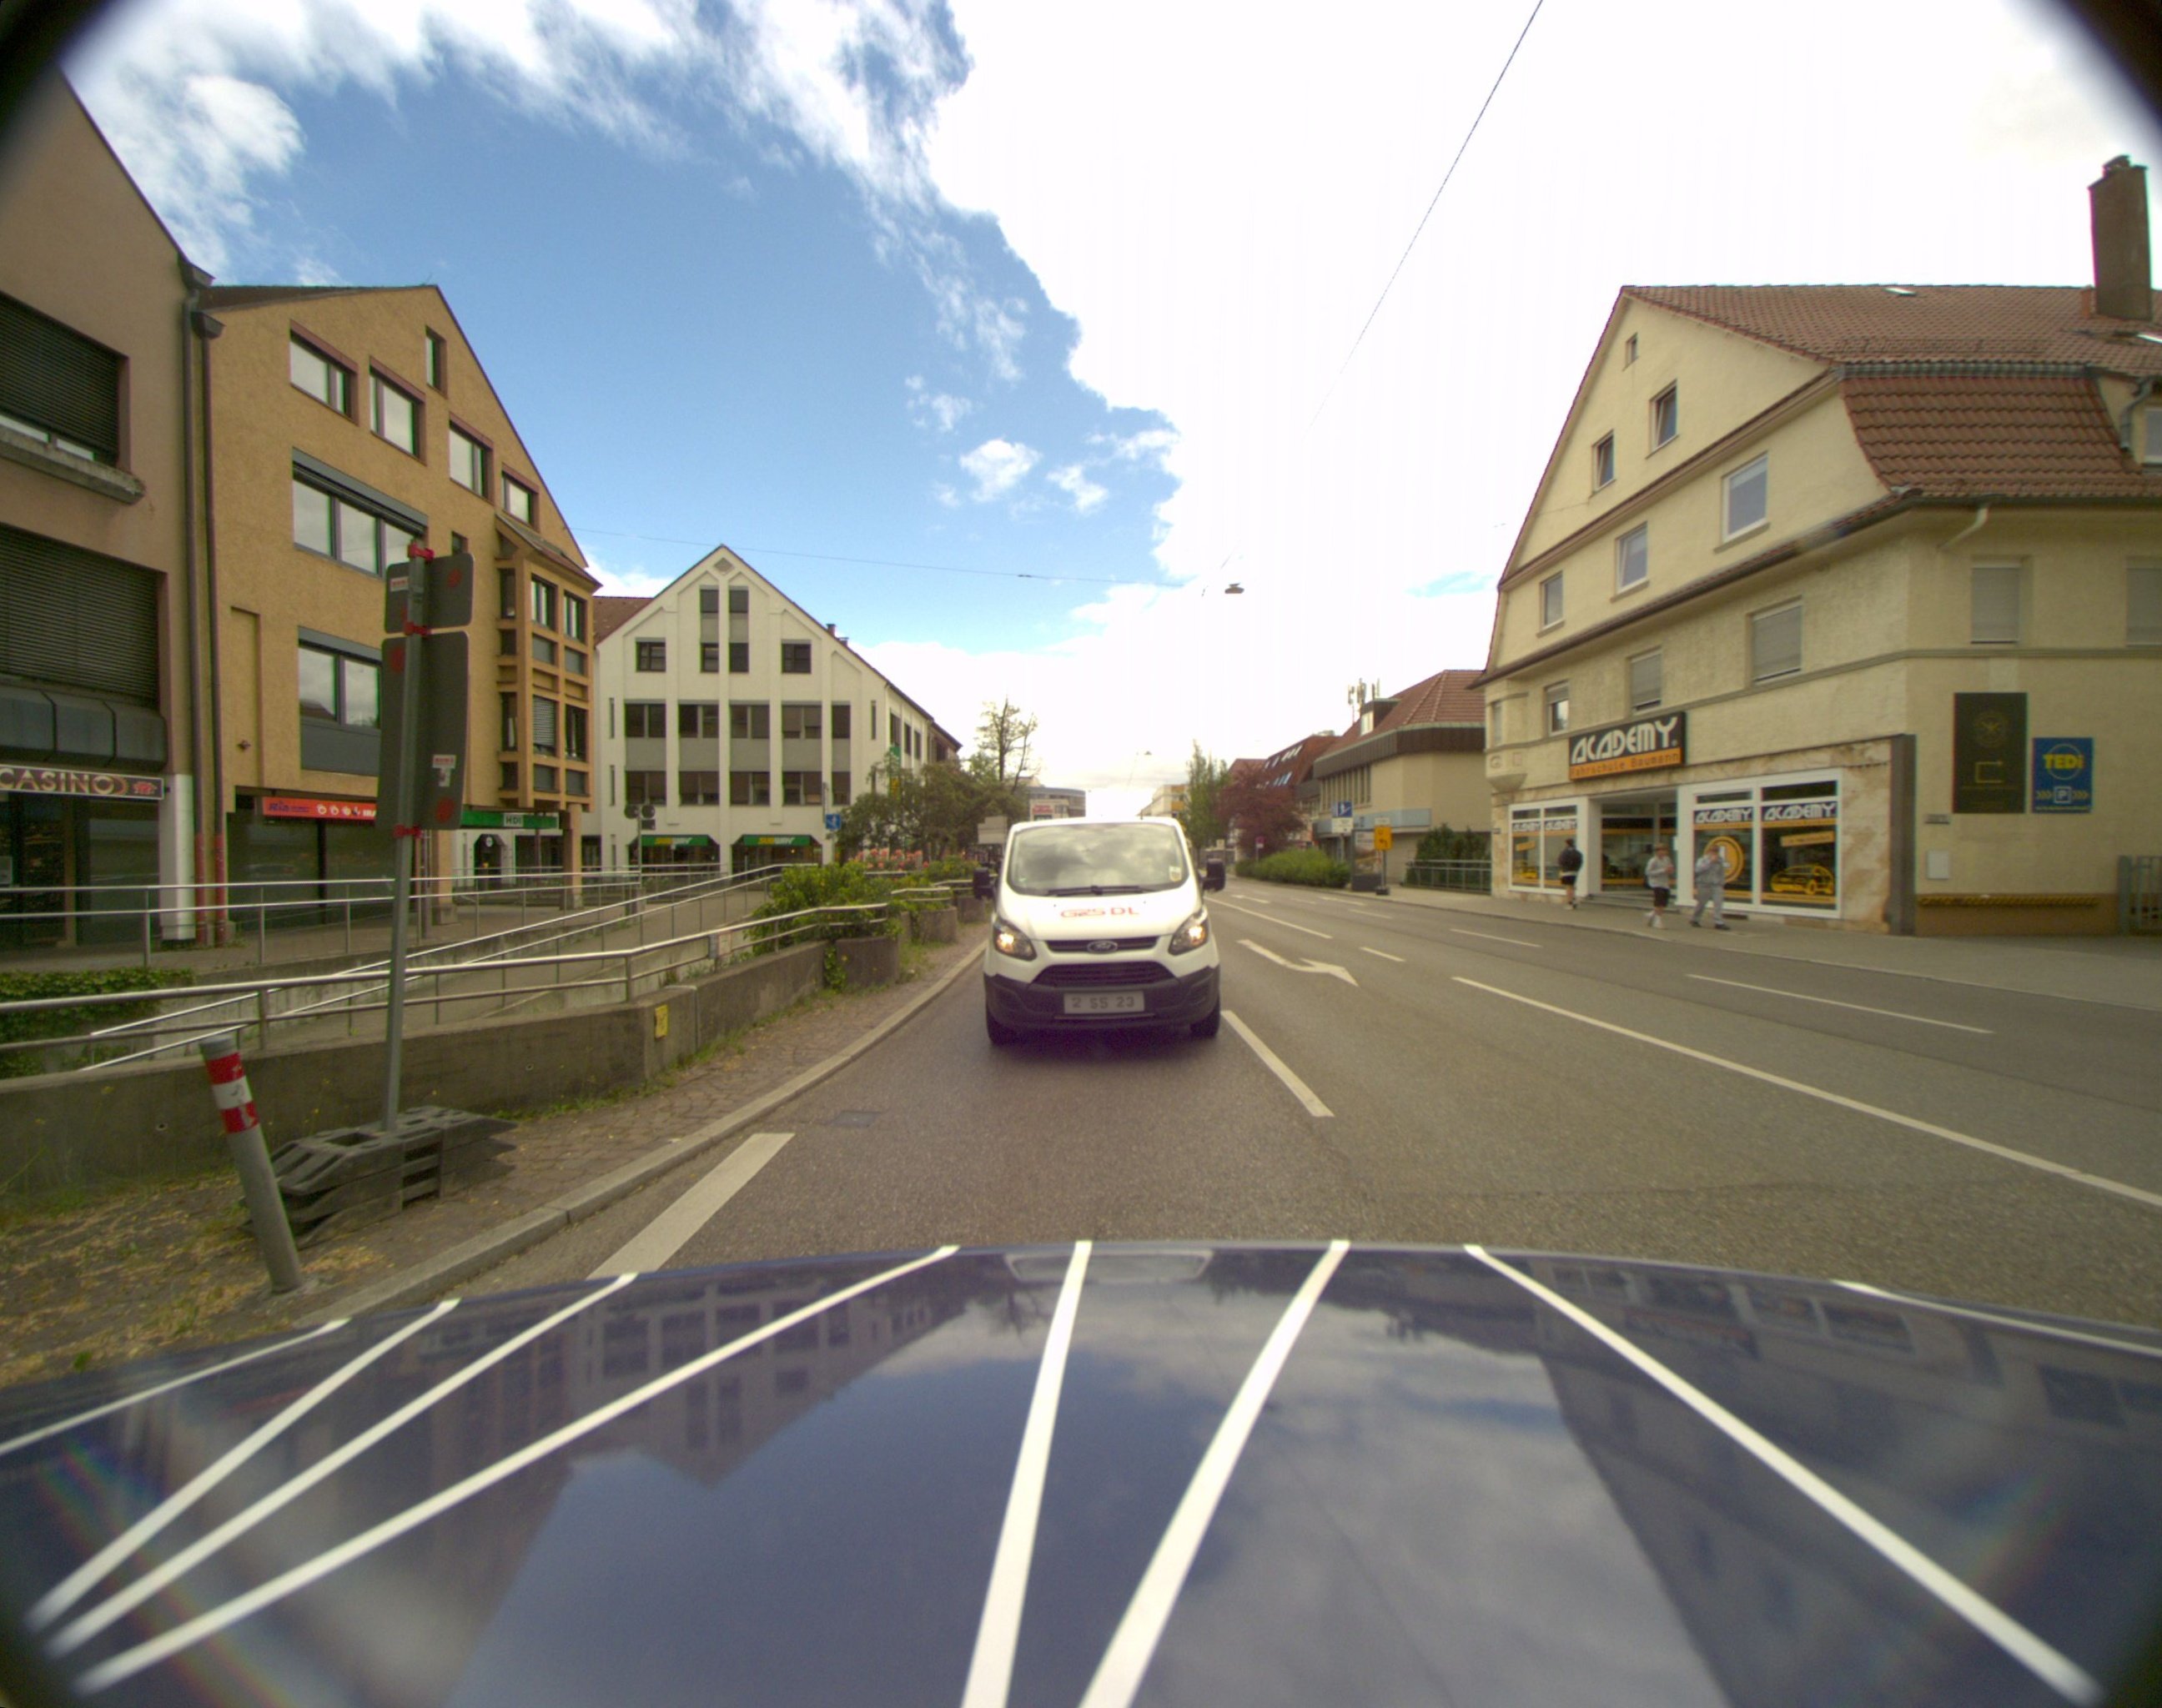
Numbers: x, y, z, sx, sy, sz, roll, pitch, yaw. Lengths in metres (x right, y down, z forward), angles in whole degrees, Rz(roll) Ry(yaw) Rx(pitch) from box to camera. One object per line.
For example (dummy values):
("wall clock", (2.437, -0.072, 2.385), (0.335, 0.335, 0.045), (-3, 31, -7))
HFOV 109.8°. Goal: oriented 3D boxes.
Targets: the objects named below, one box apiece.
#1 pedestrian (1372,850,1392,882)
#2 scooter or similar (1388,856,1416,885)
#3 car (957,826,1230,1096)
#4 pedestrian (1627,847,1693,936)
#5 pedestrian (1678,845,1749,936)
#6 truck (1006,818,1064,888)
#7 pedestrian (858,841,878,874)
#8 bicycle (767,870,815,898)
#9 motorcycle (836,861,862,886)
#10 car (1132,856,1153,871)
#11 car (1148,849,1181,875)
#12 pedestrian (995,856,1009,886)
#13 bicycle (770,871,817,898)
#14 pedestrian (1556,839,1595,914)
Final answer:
("pedestrian", (16.845, 0.655, 42.520), (0.835, 1.748, 0.838), (0, 0, 1))
("scooter or similar", (15.628, 0.794, 36.991), (1.193, 1.385, 0.539), (-1, 0, -14))
("car", (0.102, 0.778, 8.100), (1.964, 1.948, 5.164), (-1, 0, 0))
("pedestrian", (11.282, 0.715, 14.835), (0.689, 1.680, 0.742), (-2, 0, 0))
("pedestrian", (12.161, 0.686, 14.635), (0.689, 1.660, 0.709), (-3, 0, 0))
("truck", (-2.458, -0.075, 42.993), (2.446, 3.464, 8.347), (-2, 1, 1))
("pedestrian", (-12.087, 0.214, 43.088), (0.871, 1.812, 0.785), (-2, 1, -4))
("bicycle", (-10.541, 1.085, 27.642), (1.594, 0.996, 0.414), (-1, 0, -13))
("motorcycle", (-10.013, 0.829, 32.860), (0.464, 1.062, 1.995), (-1, 0, 1))
("car", (5.792, 0.897, 71.544), (1.650, 1.391, 3.542), (0, 0, 0))
("car", (6.262, 0.583, 57.433), (1.957, 1.898, 4.321), (0, 0, 0))
("pedestrian", (-4.174, 0.870, 40.229), (0.653, 1.568, 0.684), (-1, 0, 1))
("bicycle", (-10.754, 1.133, 28.459), (1.594, 0.963, 0.461), (-1, 0, -14))
("pedestrian", (12.688, 0.567, 19.516), (0.551, 1.877, 0.592), (-2, 0, -4))
